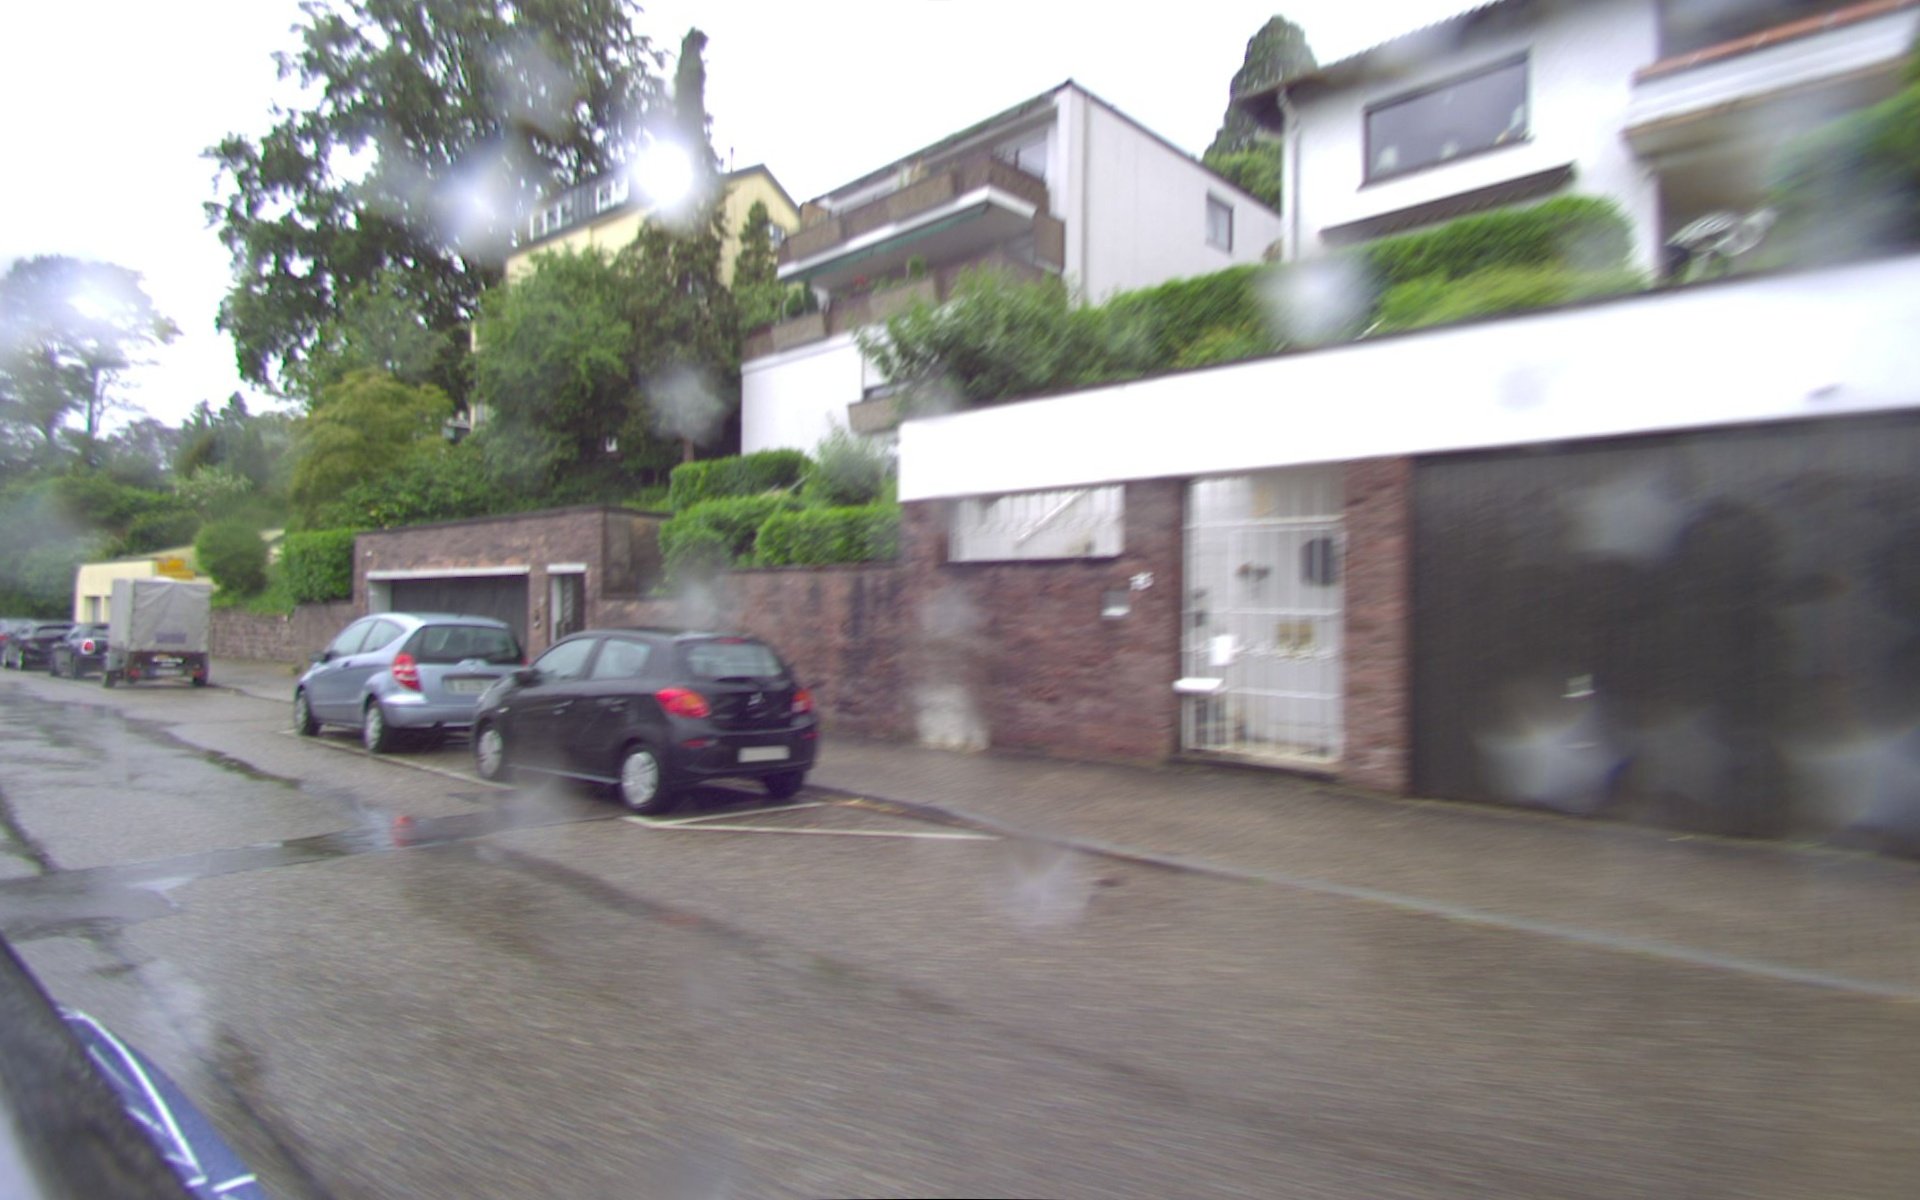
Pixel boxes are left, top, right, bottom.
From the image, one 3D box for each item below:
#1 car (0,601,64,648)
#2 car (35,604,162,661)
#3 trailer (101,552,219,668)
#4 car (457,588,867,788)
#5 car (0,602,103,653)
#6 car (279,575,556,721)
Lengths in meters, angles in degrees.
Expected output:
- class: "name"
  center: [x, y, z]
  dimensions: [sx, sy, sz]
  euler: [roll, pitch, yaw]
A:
- class: "car"
  center: [-31.818, 0.815, 33.926]
  dimensions: [4.748, 1.466, 1.769]
  euler: [-1, -3, 38]
- class: "car"
  center: [-22.203, 0.824, 26.056]
  dimensions: [3.771, 1.359, 1.790]
  euler: [-1, -2, 39]
- class: "trailer"
  center: [-17.988, 0.255, 22.715]
  dimensions: [3.072, 2.418, 1.520]
  euler: [0, -3, 42]
- class: "car"
  center: [-2.769, 0.686, 9.066]
  dimensions: [3.702, 1.420, 1.738]
  euler: [-1, -4, 40]
- class: "car"
  center: [-27.319, 0.806, 30.295]
  dimensions: [4.212, 1.426, 1.768]
  euler: [-1, -2, 39]
- class: "car"
  center: [-6.838, 0.568, 12.630]
  dimensions: [3.753, 1.551, 1.738]
  euler: [-1, -4, 40]
